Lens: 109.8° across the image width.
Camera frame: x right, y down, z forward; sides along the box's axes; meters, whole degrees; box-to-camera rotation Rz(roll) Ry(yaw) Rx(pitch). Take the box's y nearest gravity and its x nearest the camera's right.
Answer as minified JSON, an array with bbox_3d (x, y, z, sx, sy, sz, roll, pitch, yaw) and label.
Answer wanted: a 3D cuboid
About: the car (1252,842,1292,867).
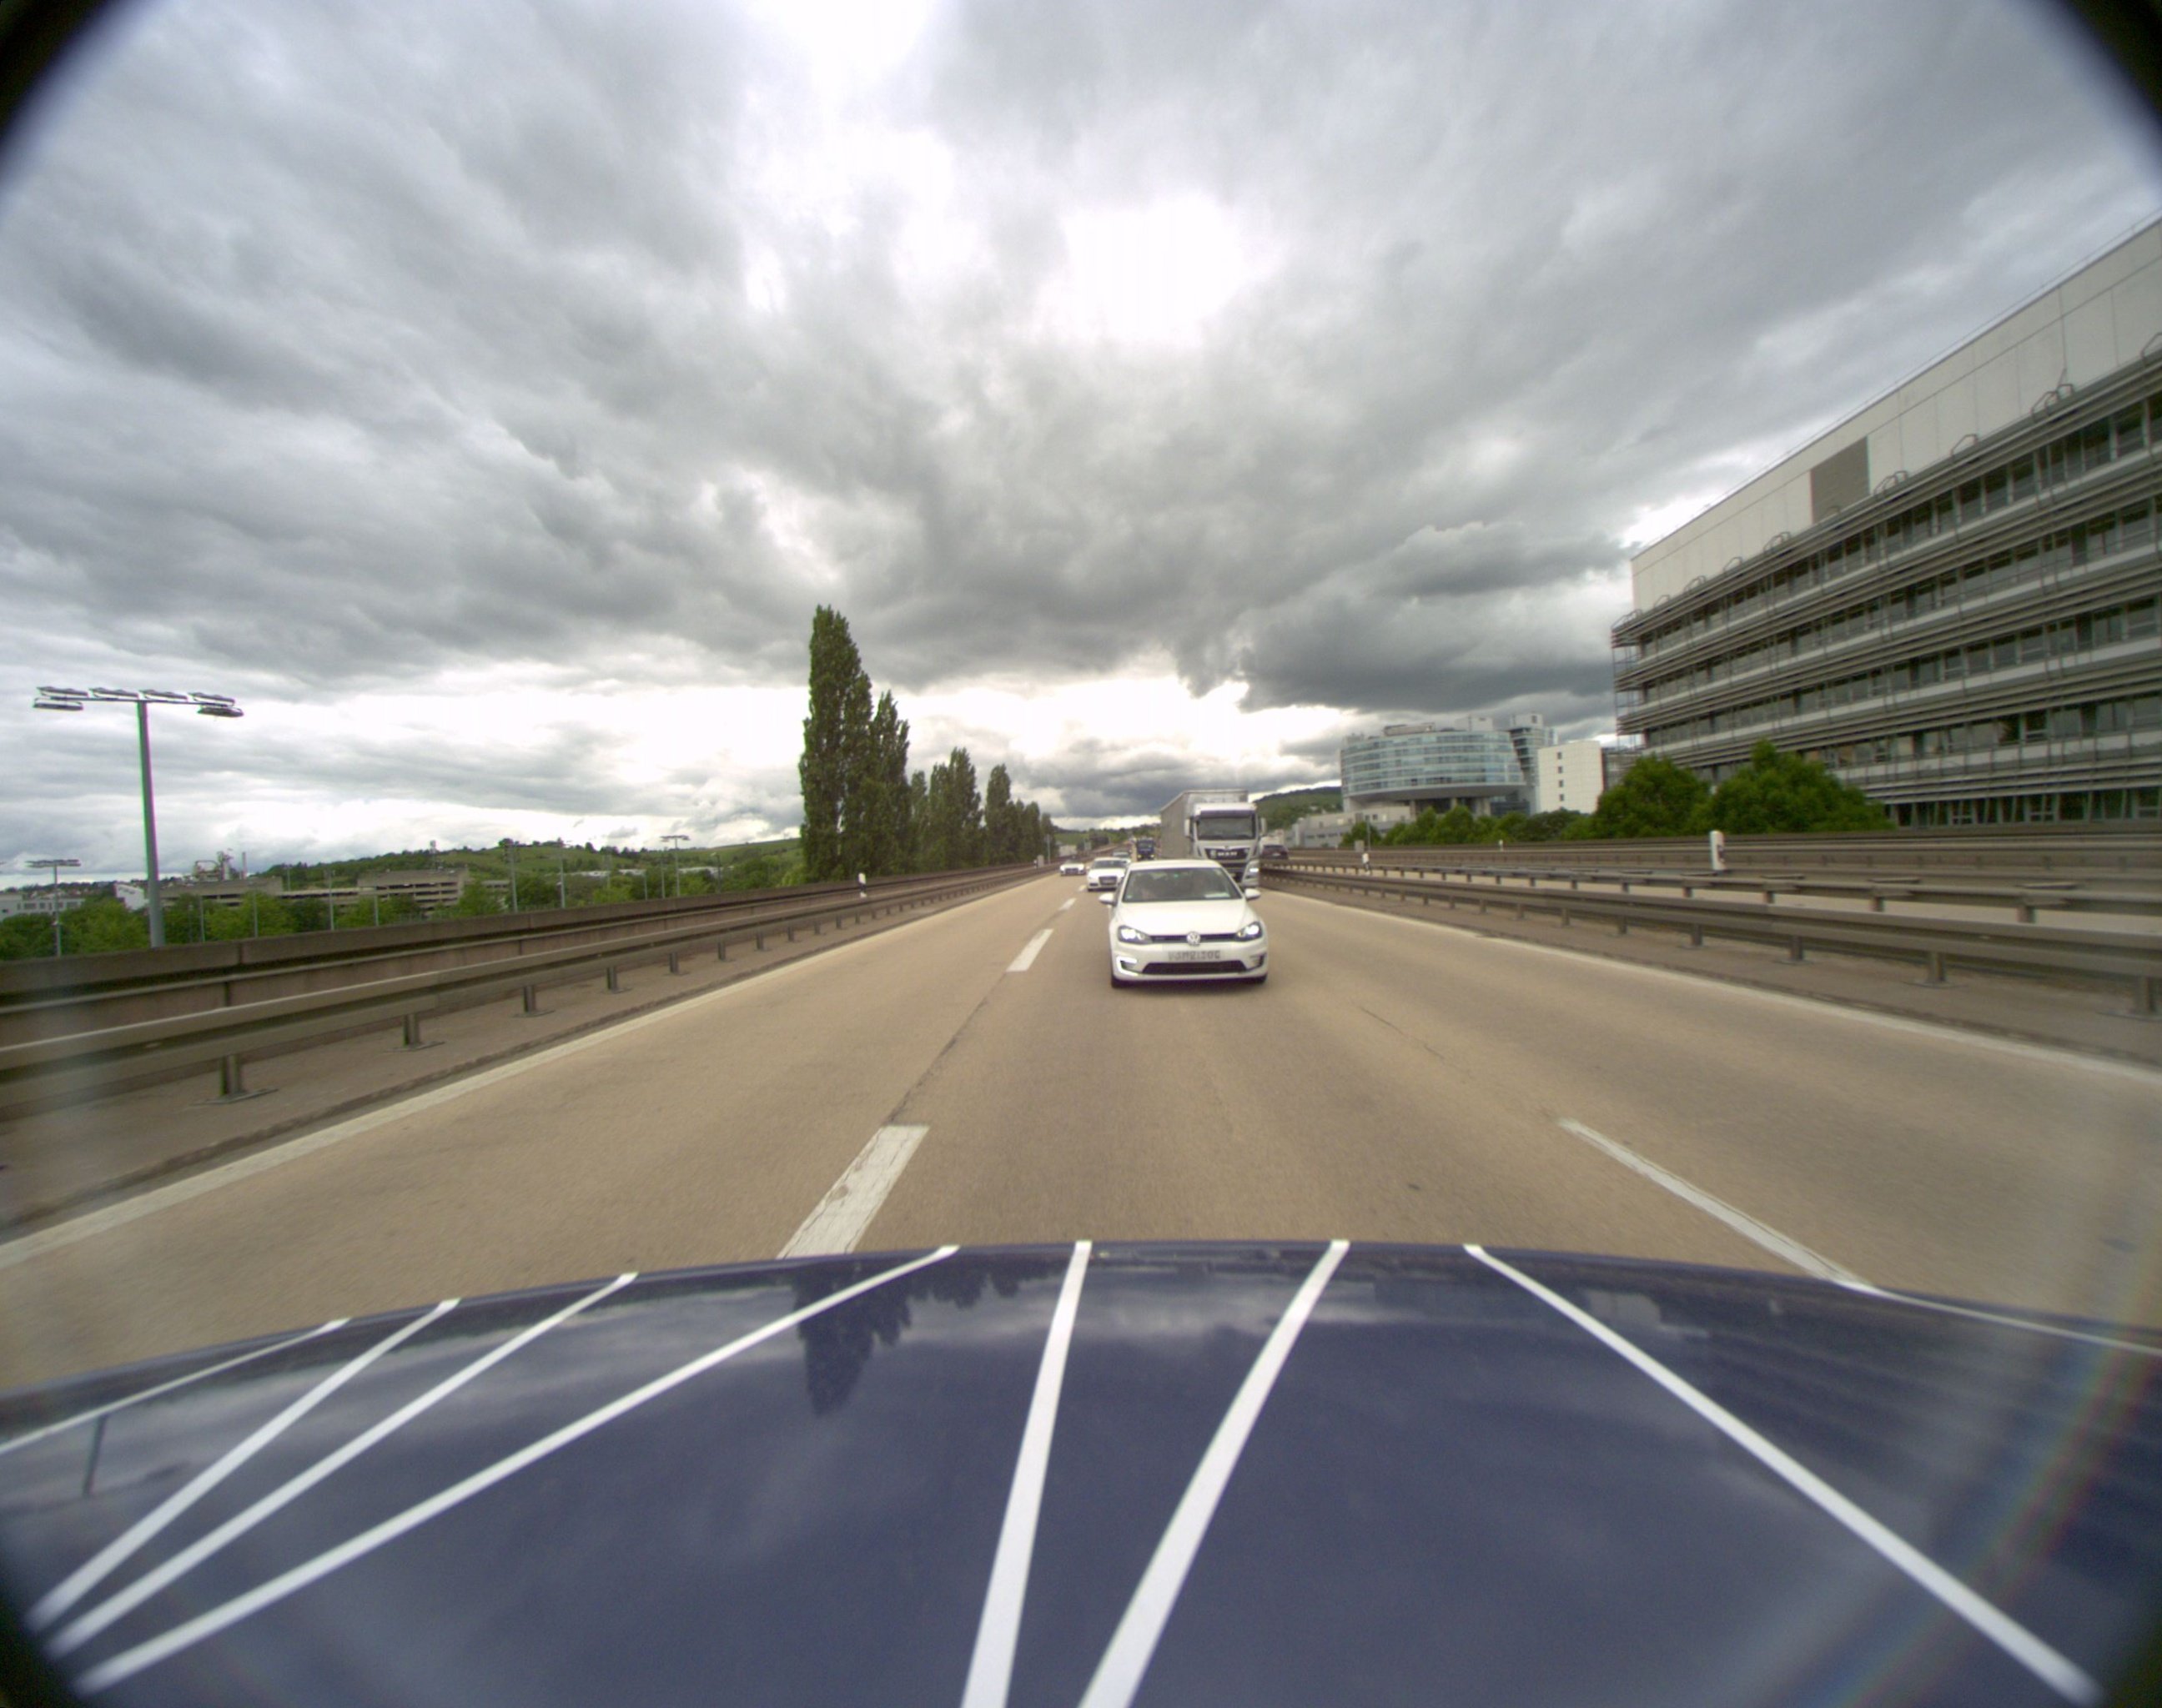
[{"bbox_3d":[14.225,0.006,56.790,1.767,1.641,4.334,-4,1,0],"label":"car"}]

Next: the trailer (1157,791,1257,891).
[{"bbox_3d":[5.888,-0.617,37.937,3.189,4.003,11.765,-4,1,2],"label":"trailer"}]

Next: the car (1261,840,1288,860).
[{"bbox_3d":[18.203,-0.370,71.654,1.686,1.641,4.447,-3,2,5],"label":"car"}]

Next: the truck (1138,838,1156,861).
[{"bbox_3d":[9.680,-0.737,111.789,2.336,3.219,6.687,-2,1,4],"label":"truck"}]

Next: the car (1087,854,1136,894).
[{"bbox_3d":[1.403,0.823,33.578,1.930,1.499,4.062,-3,1,4],"label":"car"}]

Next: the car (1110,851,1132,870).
[{"bbox_3d":[3.703,0.582,69.883,1.930,1.585,4.062,-3,1,4],"label":"car"}]

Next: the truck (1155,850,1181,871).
[{"bbox_3d":[6.817,0.511,59.568,1.829,1.521,3.514,-2,1,4],"label":"truck"}]

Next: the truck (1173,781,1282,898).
[{"bbox_3d":[5.595,-0.553,30.075,3.142,4.014,5.688,-4,1,2],"label":"truck"}]

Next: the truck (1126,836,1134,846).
[{"bbox_3d":[15.946,-4.302,246.869,2.625,3.219,6.687,-2,1,4],"label":"truck"}]

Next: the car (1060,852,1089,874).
[{"bbox_3d":[-0.469,0.698,60.035,1.930,1.499,4.062,-3,1,4],"label":"car"}]

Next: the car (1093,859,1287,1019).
[{"bbox_3d":[1.243,0.886,9.797,1.930,1.499,4.062,-2,1,4],"label":"car"}]

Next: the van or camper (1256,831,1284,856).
[{"bbox_3d":[23.694,-1.276,95.735,2.176,2.991,7.119,-2,0,4],"label":"van or camper"}]
